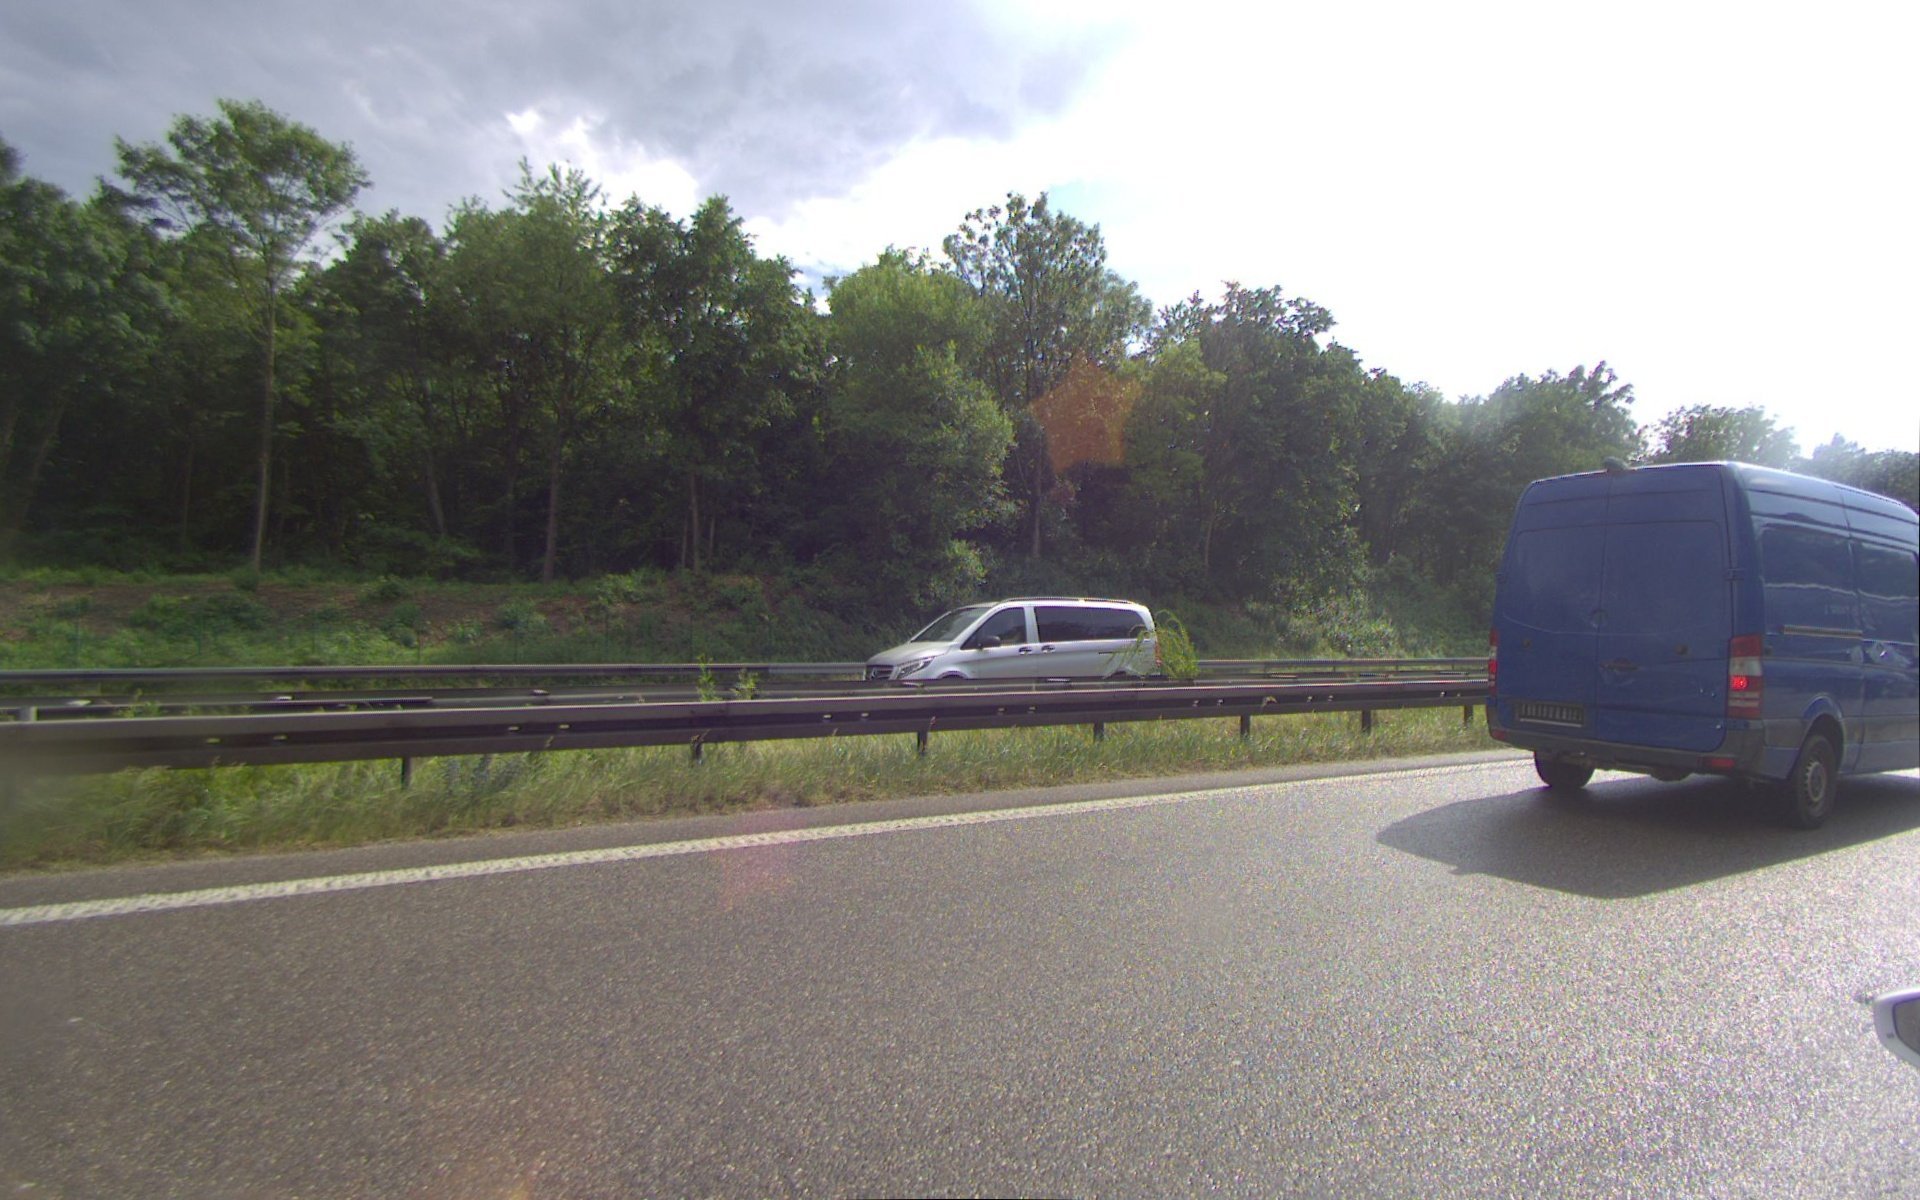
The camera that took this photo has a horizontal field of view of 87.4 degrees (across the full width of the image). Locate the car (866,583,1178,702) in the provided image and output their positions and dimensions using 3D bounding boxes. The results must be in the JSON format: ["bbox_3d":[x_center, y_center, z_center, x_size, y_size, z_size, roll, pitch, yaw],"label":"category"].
[{"bbox_3d":[1.085,0.698,16.462,4.911,1.701,1.899,2,-2,-31],"label":"car"}]

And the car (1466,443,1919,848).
[{"bbox_3d":[7.195,0.368,8.982,5.710,2.684,2.006,2,-1,-31],"label":"car"}]
